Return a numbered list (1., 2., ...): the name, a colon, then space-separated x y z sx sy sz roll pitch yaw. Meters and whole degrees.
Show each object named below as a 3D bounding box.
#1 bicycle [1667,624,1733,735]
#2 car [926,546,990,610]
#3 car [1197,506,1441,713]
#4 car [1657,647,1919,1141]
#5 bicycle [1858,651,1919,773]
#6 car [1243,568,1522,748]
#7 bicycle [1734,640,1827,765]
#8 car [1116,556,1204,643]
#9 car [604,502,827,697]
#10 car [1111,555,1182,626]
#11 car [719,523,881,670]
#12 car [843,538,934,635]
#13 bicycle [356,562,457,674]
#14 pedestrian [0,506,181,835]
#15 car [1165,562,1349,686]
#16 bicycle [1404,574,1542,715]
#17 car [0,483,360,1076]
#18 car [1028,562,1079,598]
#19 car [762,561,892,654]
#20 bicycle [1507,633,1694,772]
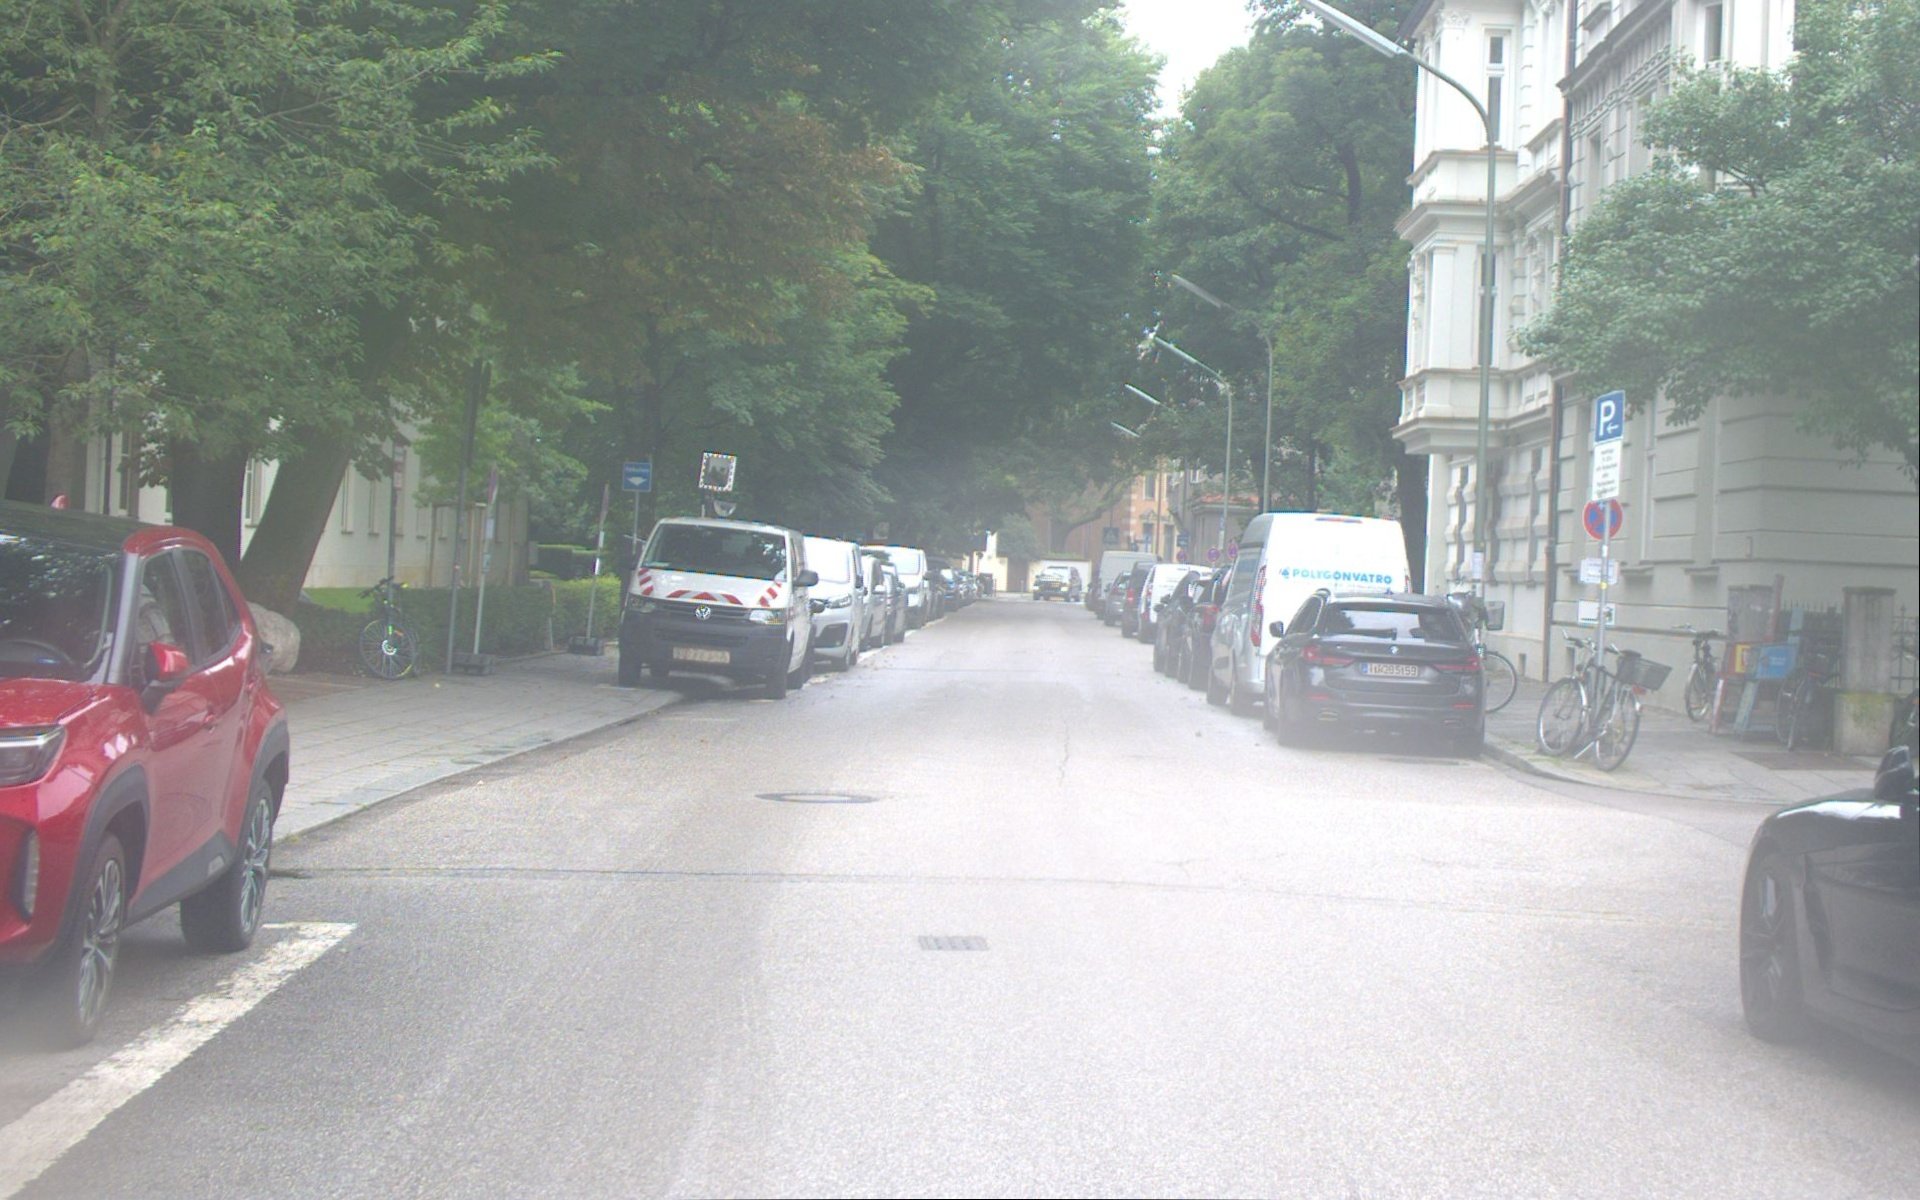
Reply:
1. bicycle: 7.533 0.798 35.014 0.546 1.056 1.750 2 1 10
2. car: -0.096 -0.813 124.473 2.047 2.147 4.314 4 0 -2
3. car: 4.059 0.096 39.702 2.203 2.201 4.855 1 0 -1
4. car: 3.682 0.861 10.610 1.999 1.314 4.596 0 1 -2
5. bicycle: 8.916 1.007 30.117 1.923 1.024 0.557 2 2 4
6. car: 3.929 0.508 32.742 2.273 1.541 4.586 1 0 3
7. bicycle: 7.496 0.920 31.460 0.430 1.024 1.890 2 2 2
8. car: 4.789 -0.041 82.748 1.994 1.969 4.000 2 1 3
9. car: -2.733 -0.033 39.691 2.247 1.950 5.454 4 0 -2
10. car: 5.527 -0.299 101.924 1.994 2.007 4.000 2 1 3
11. car: -2.362 -0.079 51.408 2.183 1.950 5.167 4 0 -2
12. car: -1.719 -0.344 84.407 2.002 2.179 4.696 4 0 0
13. bicycle: -5.787 0.181 36.029 0.633 1.099 1.767 4 0 3
14. pedestrian: -4.315 0.336 16.965 0.713 1.543 0.753 4 0 -5
15. car: 4.140 0.317 48.547 2.138 1.624 4.316 1 0 -1
16. bicycle: 5.826 0.490 39.176 0.707 1.510 2.039 2 1 -16
17. car: -3.333 0.409 11.522 1.887 1.585 4.528 4 0 -2
18. car: 4.888 -1.033 179.233 1.994 1.777 3.998 2 1 11
19. car: -2.390 0.116 62.822 2.069 1.514 4.237 4 0 1
20. bicycle: 5.423 0.853 29.261 0.653 1.024 2.203 2 2 -15
